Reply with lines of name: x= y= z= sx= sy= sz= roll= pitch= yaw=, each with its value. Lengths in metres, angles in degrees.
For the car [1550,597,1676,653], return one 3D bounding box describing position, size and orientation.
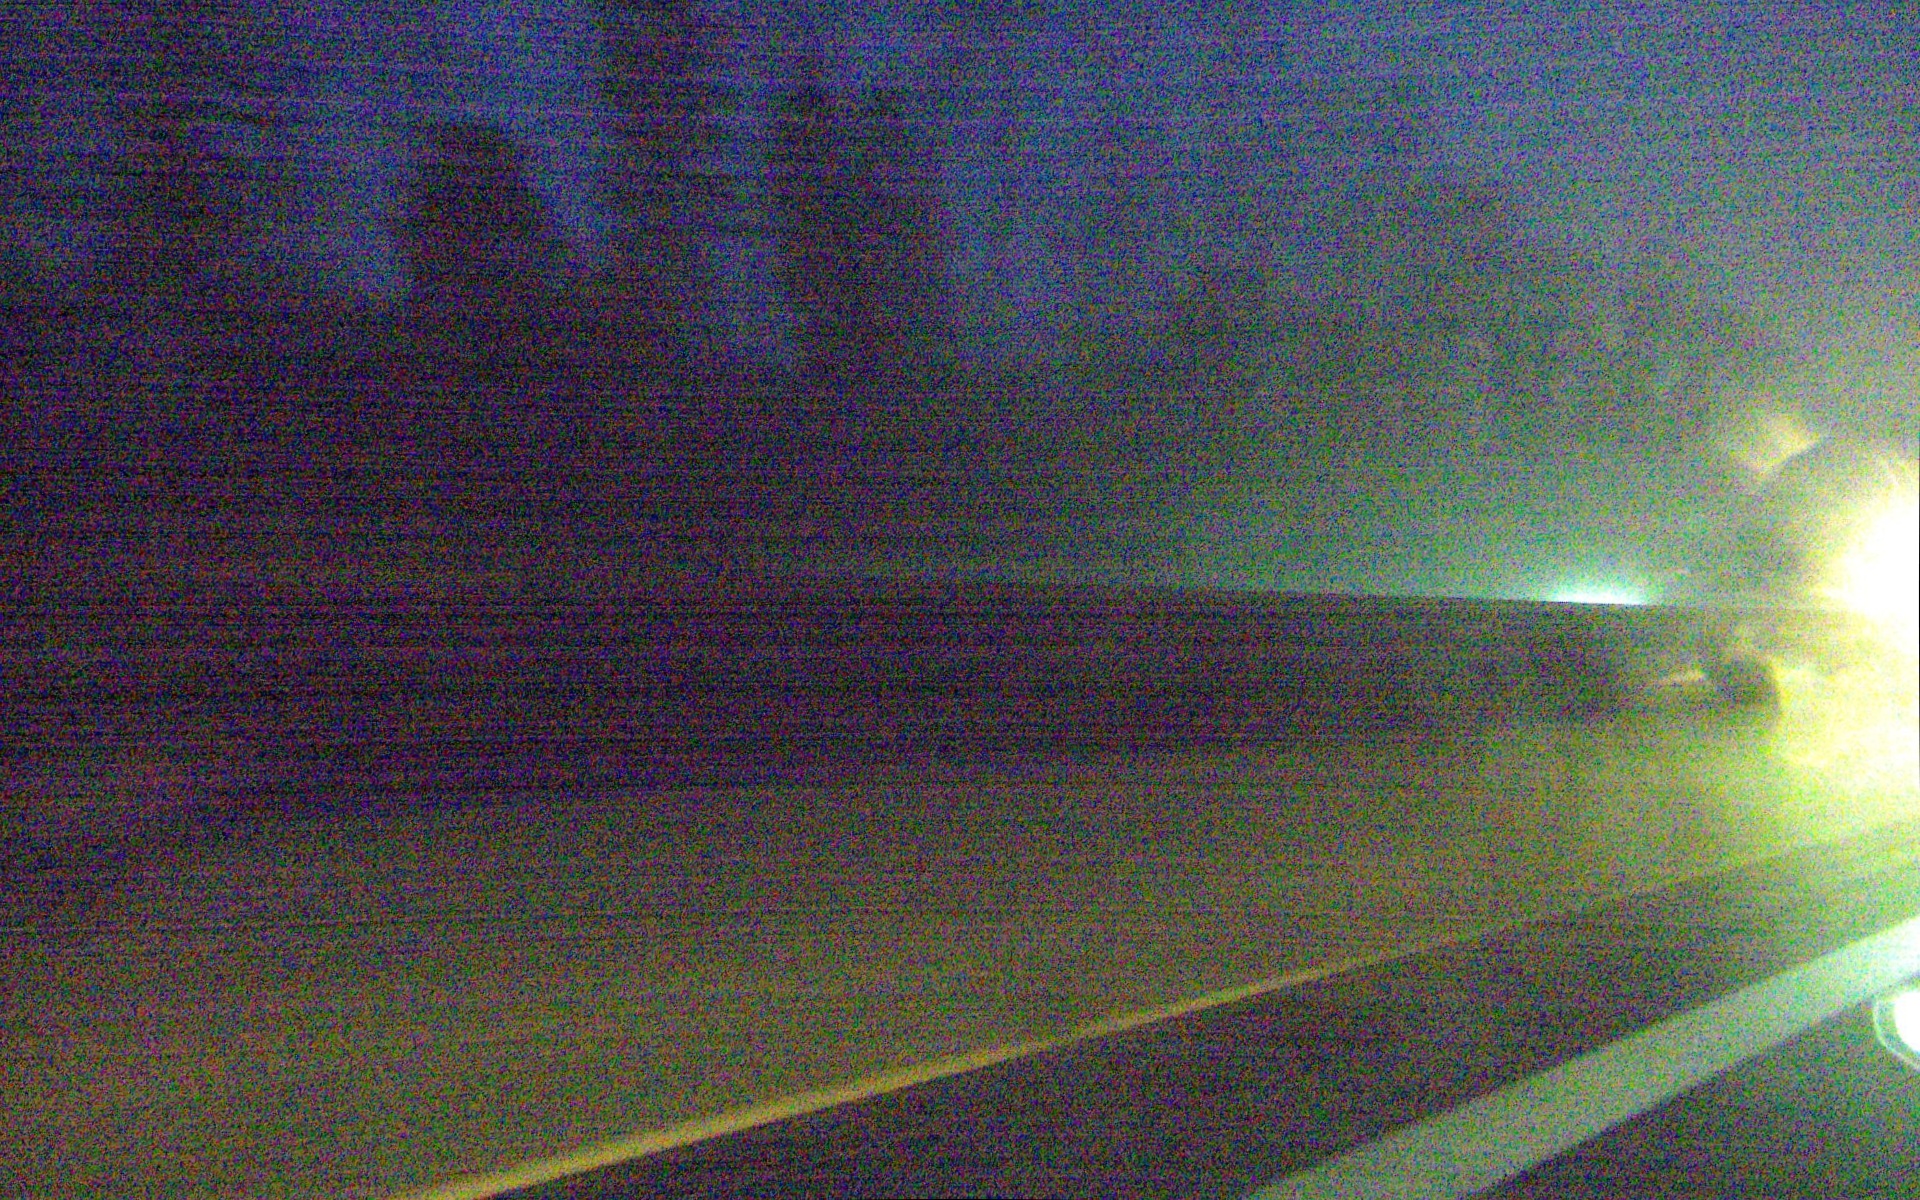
car: x=22.259 y=0.799 z=34.222 sx=3.954 sy=1.627 sz=1.983 roll=0 pitch=5 yaw=-31
